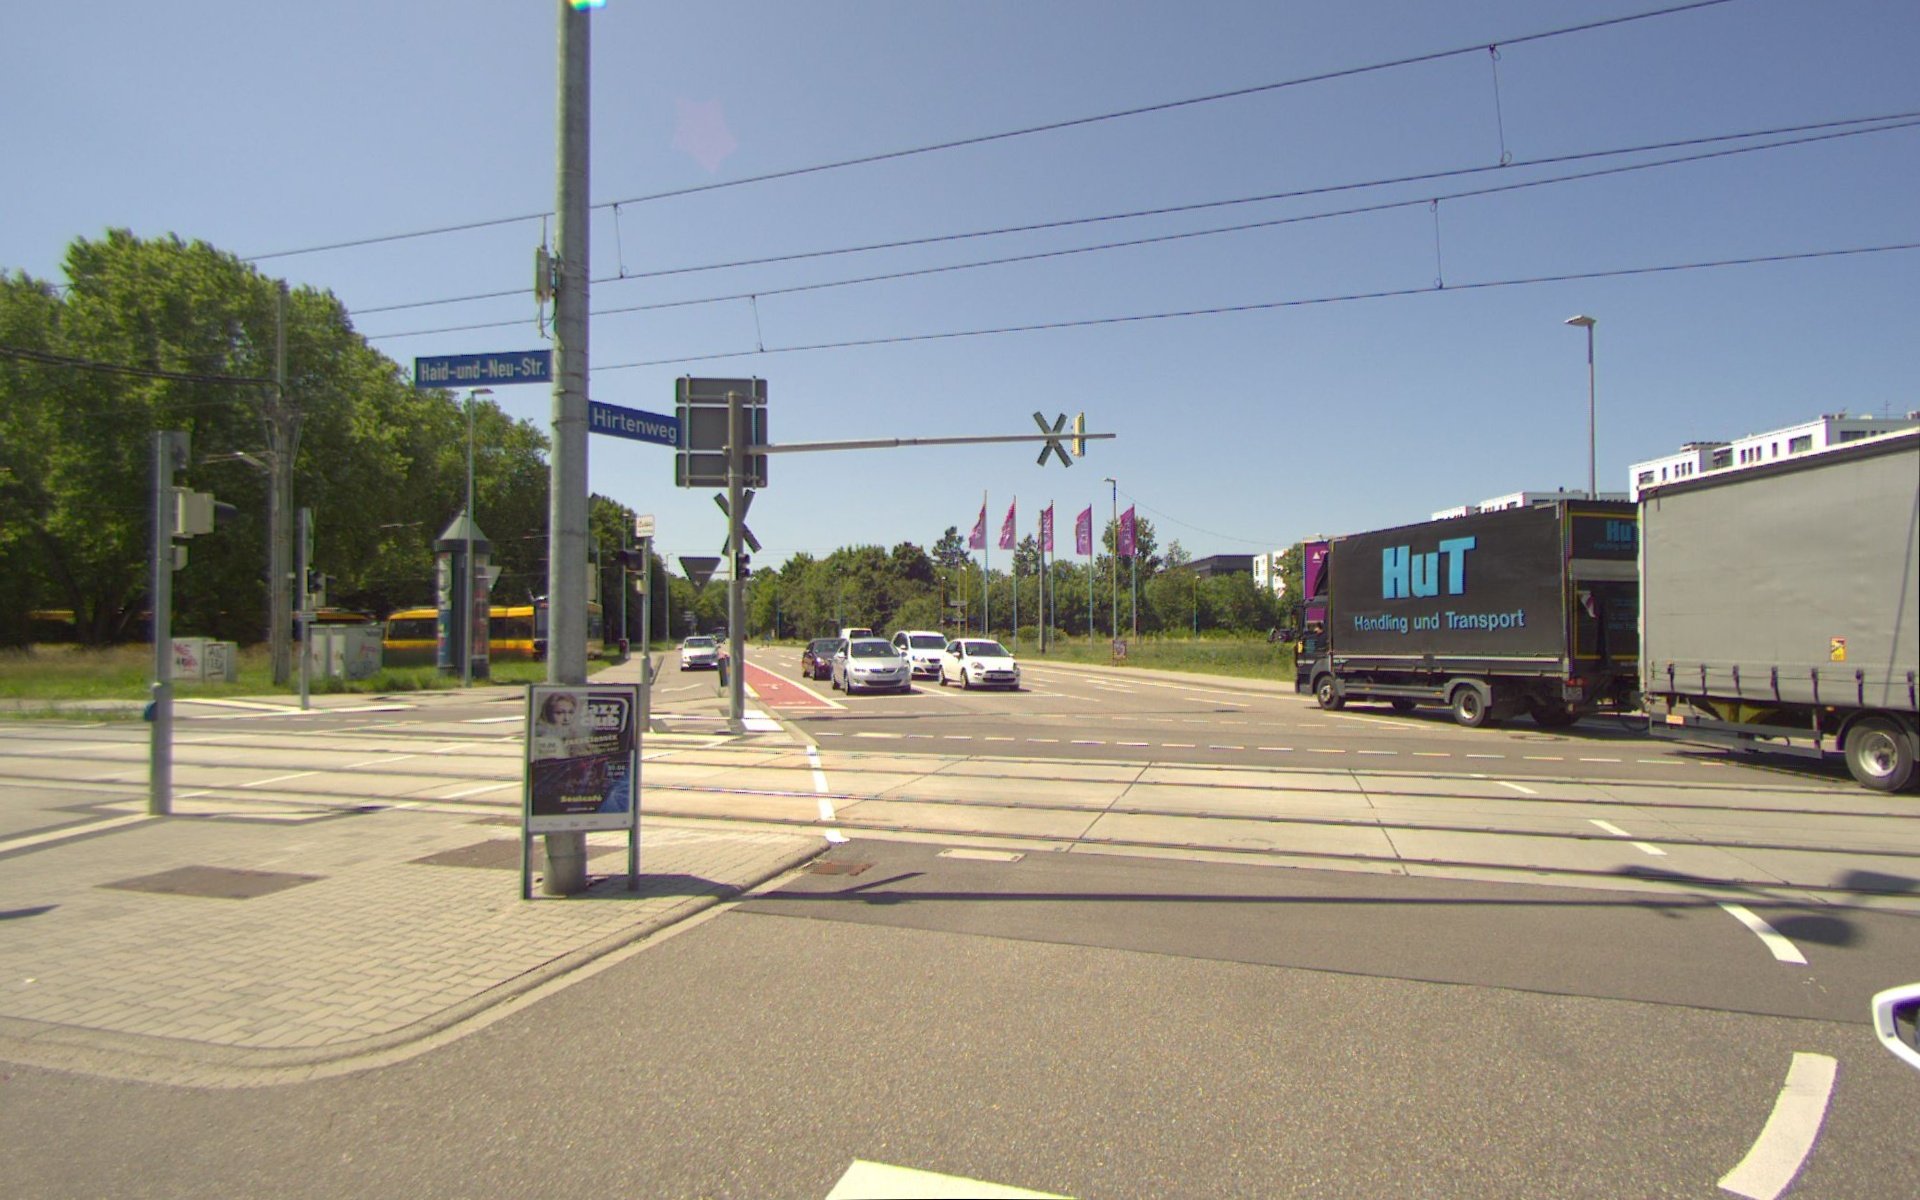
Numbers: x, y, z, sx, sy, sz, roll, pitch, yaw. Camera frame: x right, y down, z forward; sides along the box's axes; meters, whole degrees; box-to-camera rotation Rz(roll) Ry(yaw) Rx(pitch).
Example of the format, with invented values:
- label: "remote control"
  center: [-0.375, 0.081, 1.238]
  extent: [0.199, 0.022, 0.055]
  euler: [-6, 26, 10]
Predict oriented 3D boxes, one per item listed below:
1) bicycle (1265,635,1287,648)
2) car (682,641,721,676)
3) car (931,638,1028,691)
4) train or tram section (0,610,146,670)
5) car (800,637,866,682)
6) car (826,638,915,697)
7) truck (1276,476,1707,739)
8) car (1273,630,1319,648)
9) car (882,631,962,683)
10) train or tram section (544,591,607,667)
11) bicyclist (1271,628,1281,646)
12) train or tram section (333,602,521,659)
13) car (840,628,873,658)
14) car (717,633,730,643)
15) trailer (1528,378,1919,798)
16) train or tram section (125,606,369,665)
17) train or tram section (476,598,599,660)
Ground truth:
- label: "bicycle"
  center: [29.342, 3.831, 93.247]
  extent: [1.929, 1.196, 0.613]
  euler: [-1, 1, -8]
- label: "car"
  center: [-12.271, 2.757, 47.843]
  extent: [1.717, 1.566, 4.246]
  euler: [0, -2, -14]
- label: "car"
  center: [0.503, 1.885, 30.006]
  extent: [1.745, 1.456, 3.947]
  euler: [2, -2, -17]
- label: "train or tram section"
  center: [-62.509, 2.657, 65.908]
  extent: [14.073, 3.809, 2.992]
  euler: [0, -1, -40]
- label: "car"
  center: [-4.704, 2.118, 36.659]
  extent: [1.737, 1.476, 4.271]
  euler: [0, -2, -17]
- label: "car"
  center: [-2.599, 1.817, 28.211]
  extent: [1.767, 1.475, 4.399]
  euler: [0, -2, -15]
- label: "truck"
  center: [9.853, 0.260, 20.015]
  extent: [3.036, 4.123, 7.936]
  euler: [1, -2, -15]
- label: "car"
  center: [30.538, 3.569, 91.268]
  extent: [3.563, 1.553, 1.703]
  euler: [2, -2, -11]
- label: "car"
  center: [-1.460, 2.009, 36.397]
  extent: [1.788, 1.746, 4.815]
  euler: [1, -2, -16]
- label: "train or tram section"
  center: [-22.110, 1.642, 57.545]
  extent: [2.982, 3.809, 12.927]
  euler: [-1, -1, -22]
- label: "bicyclist"
  center: [29.335, 3.406, 93.240]
  extent: [0.680, 1.646, 0.608]
  euler: [-1, 1, -8]
- label: "train or tram section"
  center: [-38.618, 2.234, 72.674]
  extent: [13.767, 3.809, 3.027]
  euler: [-2, -1, 16]
- label: "car"
  center: [-6.867, 2.826, 66.212]
  extent: [1.633, 1.932, 3.989]
  euler: [0, -2, -14]
- label: "car"
  center: [-34.486, 5.545, 146.491]
  extent: [1.601, 1.475, 3.490]
  euler: [-1, -2, -16]
- label: "trailer"
  center: [10.910, -0.049, 11.631]
  extent: [3.027, 4.123, 9.810]
  euler: [1, -2, -1]
- label: "train or tram section"
  center: [-51.007, 2.502, 72.561]
  extent: [13.979, 3.809, 3.012]
  euler: [-1, -1, -21]
- label: "train or tram section"
  center: [-28.333, 1.940, 66.924]
  extent: [11.452, 3.809, 3.009]
  euler: [-2, -1, 42]
